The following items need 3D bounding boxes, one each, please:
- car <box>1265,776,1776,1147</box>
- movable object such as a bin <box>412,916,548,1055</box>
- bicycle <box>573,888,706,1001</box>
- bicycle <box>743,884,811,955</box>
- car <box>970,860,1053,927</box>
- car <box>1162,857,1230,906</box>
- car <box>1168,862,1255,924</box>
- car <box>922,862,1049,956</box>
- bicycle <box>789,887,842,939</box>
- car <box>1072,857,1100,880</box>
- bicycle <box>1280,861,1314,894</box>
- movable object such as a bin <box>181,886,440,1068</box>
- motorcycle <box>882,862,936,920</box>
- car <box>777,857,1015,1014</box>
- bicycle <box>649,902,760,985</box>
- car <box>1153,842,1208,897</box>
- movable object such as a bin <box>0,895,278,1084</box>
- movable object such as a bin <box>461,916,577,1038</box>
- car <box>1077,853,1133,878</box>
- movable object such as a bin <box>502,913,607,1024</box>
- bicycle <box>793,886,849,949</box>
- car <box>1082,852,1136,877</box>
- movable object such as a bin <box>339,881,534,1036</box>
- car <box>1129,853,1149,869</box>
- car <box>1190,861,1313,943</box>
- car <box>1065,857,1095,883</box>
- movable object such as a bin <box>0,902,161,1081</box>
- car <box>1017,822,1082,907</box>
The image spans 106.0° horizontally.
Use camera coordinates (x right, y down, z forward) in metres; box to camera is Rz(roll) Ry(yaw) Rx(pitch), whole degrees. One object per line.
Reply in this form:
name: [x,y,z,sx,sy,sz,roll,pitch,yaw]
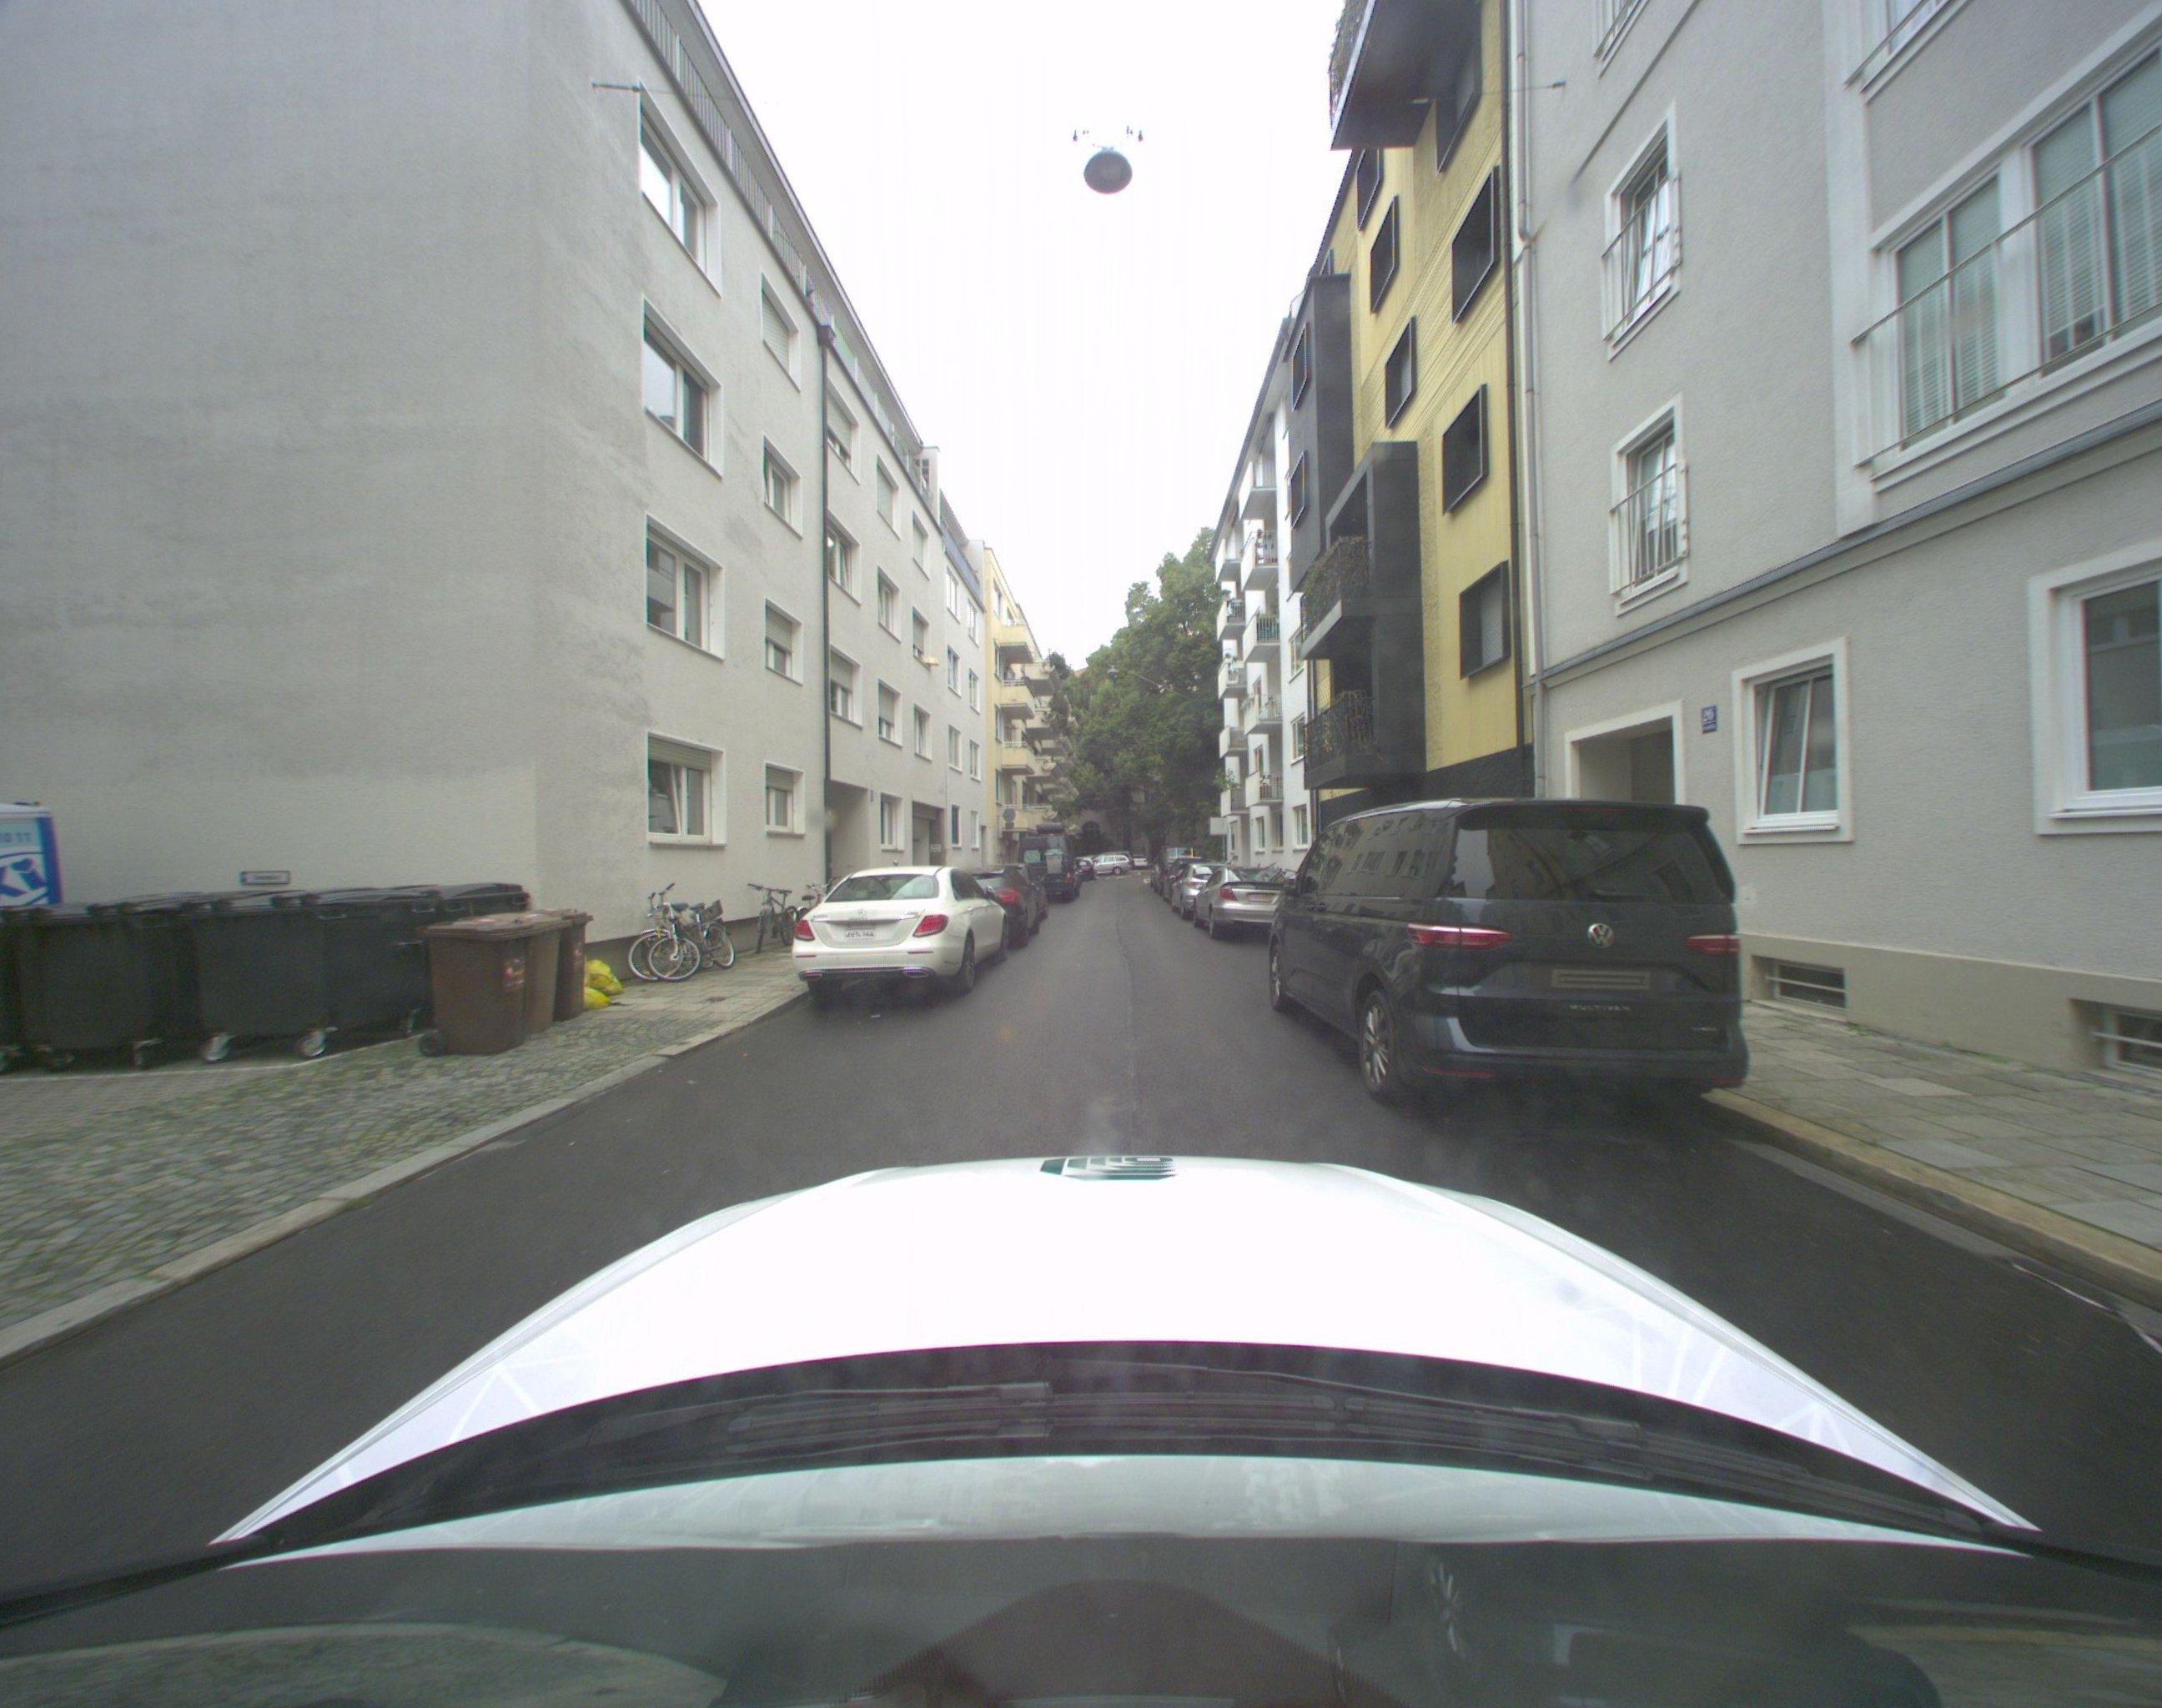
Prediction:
car: [2.790,0.556,6.462,1.822,1.910,4.418,1,0,2]
movable object such as a bin: [-4.963,1.061,6.760,0.649,1.020,0.584,-3,-1,-4]
bicycle: [-5.290,1.027,9.913,0.394,1.068,2.134,0,2,2]
bicycle: [-5.045,1.054,13.614,0.394,1.051,1.761,1,0,2]
car: [-1.703,0.950,20.841,1.636,1.453,3.163,-4,0,2]
car: [3.804,0.866,27.601,1.822,1.454,4.417,2,0,2]
car: [3.506,0.999,22.587,1.822,1.454,4.417,2,0,2]
car: [-1.703,0.957,15.833,1.770,1.453,4.048,-4,0,2]
bicycle: [-4.994,1.093,15.406,0.394,0.869,1.615,1,0,2]
car: [0.360,0.920,52.808,1.636,1.383,3.484,-4,0,2]
bicycle: [6.422,0.684,24.283,0.505,0.905,2.042,-2,0,2]
movable object such as a bin: [-6.448,0.989,6.893,1.161,1.337,1.027,-3,-1,5]
motorcycle: [-4.307,0.883,20.540,0.677,1.350,2.488,0,0,4]
car: [-2.081,0.846,10.606,1.769,1.487,4.522,-4,0,3]
bicycle: [-4.924,1.138,10.811,0.394,0.869,2.134,1,0,2]
car: [3.958,0.590,33.011,1.822,1.999,4.417,2,0,2]
movable object such as a bin: [-7.702,1.064,6.703,1.152,1.337,0.994,-3,-1,5]
movable object such as a bin: [-5.104,1.101,7.430,0.648,1.020,0.584,1,0,-4]
car: [1.737,0.827,58.836,3.872,1.584,1.648,-4,0,1]
movable object such as a bin: [-5.191,1.112,8.063,0.648,1.020,0.584,1,0,-4]
bicycle: [-4.551,1.087,14.345,0.394,0.982,1.656,1,0,2]
car: [2.057,0.765,60.808,3.872,1.584,1.648,-4,0,1]
movable object such as a bin: [-6.250,0.980,7.965,1.042,1.337,0.994,-3,-1,5]
car: [5.362,0.661,75.590,1.636,1.383,3.747,-4,0,2]
car: [3.466,0.908,17.377,1.822,1.454,4.417,2,0,2]
car: [-0.023,0.926,48.968,1.636,1.383,3.484,-4,0,2]
movable object such as a bin: [-8.982,1.138,6.899,1.225,1.337,0.994,-3,-1,5]
car: [-1.079,0.367,30.332,1.929,2.802,4.534,-4,0,2]
